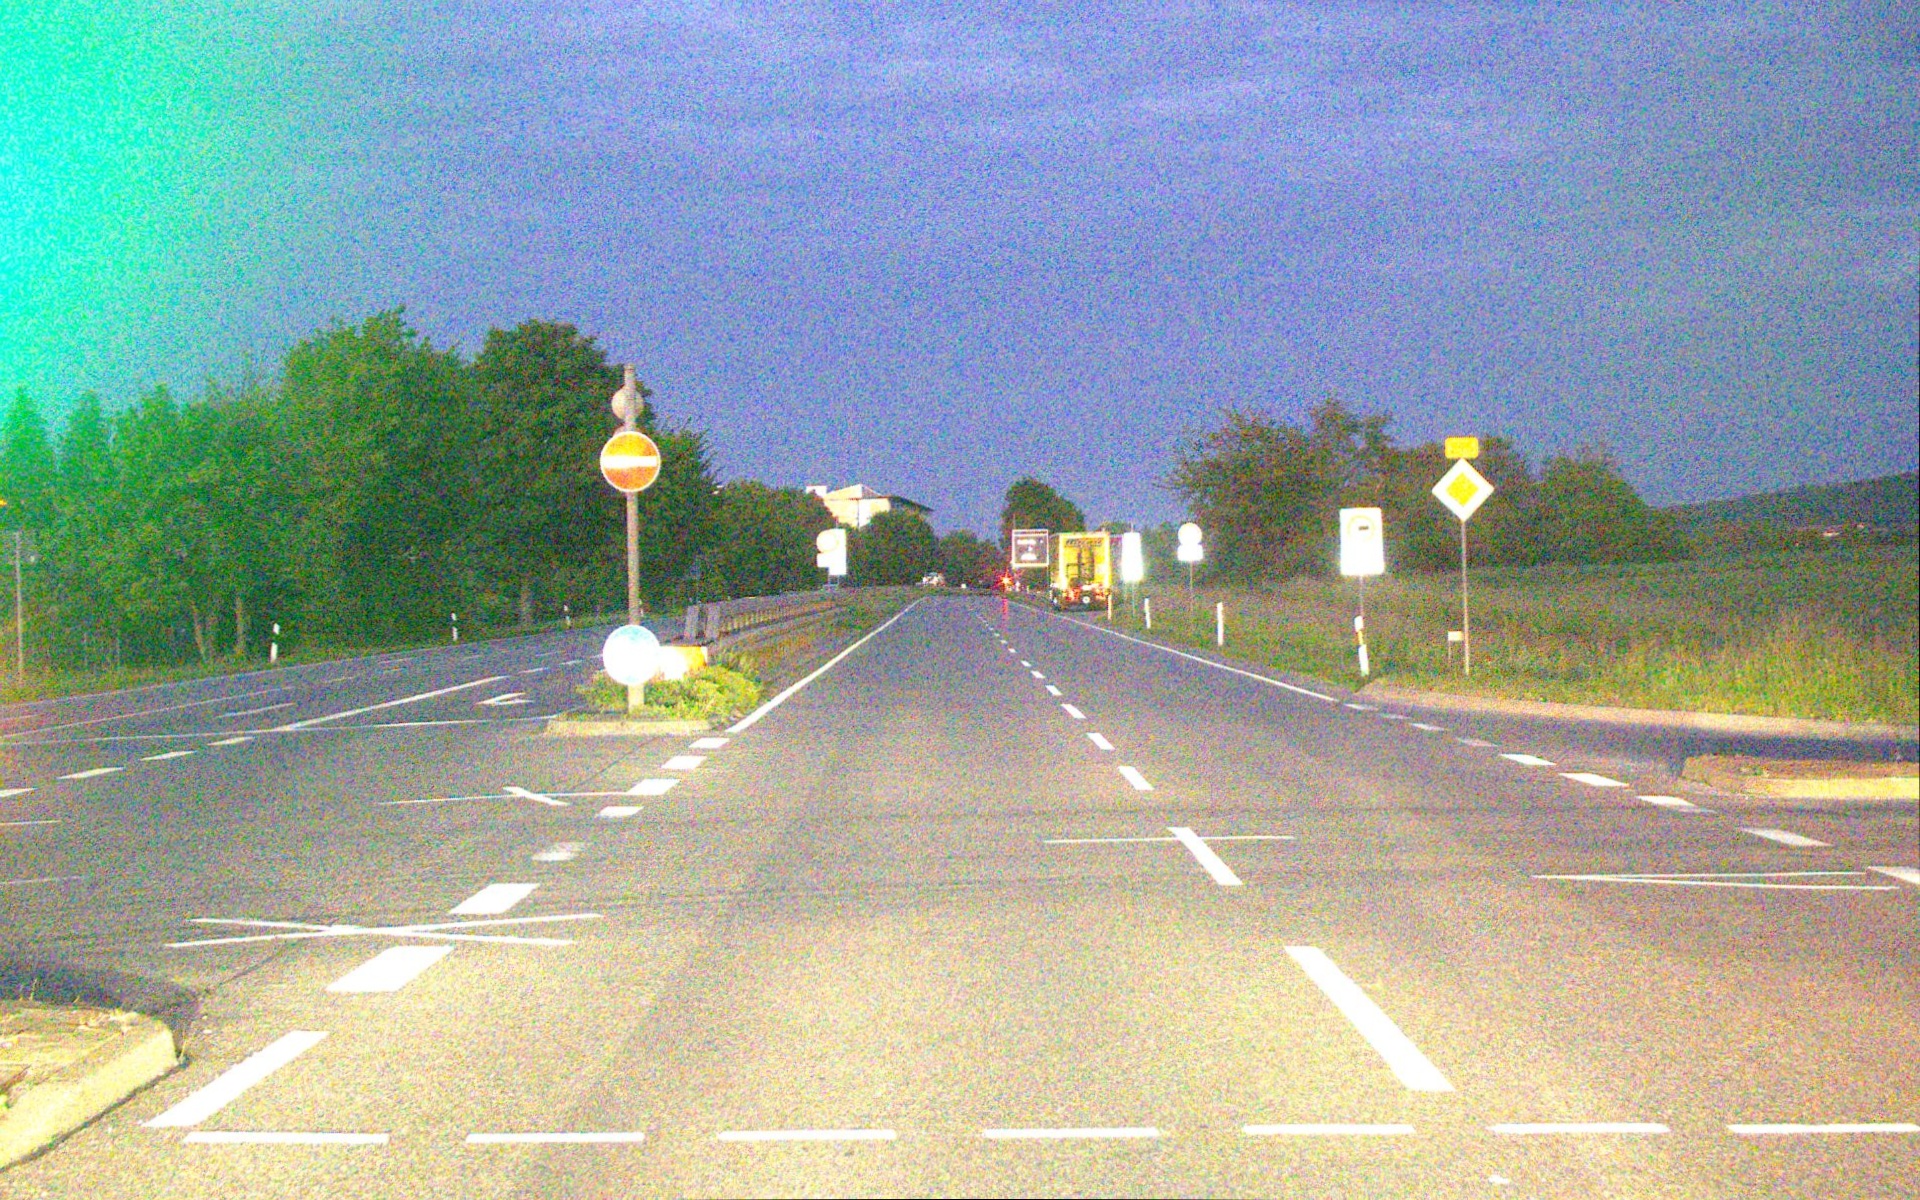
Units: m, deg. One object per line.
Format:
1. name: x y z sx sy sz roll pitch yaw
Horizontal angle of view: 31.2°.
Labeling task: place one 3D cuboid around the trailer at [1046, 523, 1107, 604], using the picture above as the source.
1. trailer: 6.068 -1.896 180.509 2.622 4.090 12.937 -1 0 0

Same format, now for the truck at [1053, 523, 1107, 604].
1. truck: 6.062 -1.864 174.193 2.579 4.057 6.130 0 1 1
